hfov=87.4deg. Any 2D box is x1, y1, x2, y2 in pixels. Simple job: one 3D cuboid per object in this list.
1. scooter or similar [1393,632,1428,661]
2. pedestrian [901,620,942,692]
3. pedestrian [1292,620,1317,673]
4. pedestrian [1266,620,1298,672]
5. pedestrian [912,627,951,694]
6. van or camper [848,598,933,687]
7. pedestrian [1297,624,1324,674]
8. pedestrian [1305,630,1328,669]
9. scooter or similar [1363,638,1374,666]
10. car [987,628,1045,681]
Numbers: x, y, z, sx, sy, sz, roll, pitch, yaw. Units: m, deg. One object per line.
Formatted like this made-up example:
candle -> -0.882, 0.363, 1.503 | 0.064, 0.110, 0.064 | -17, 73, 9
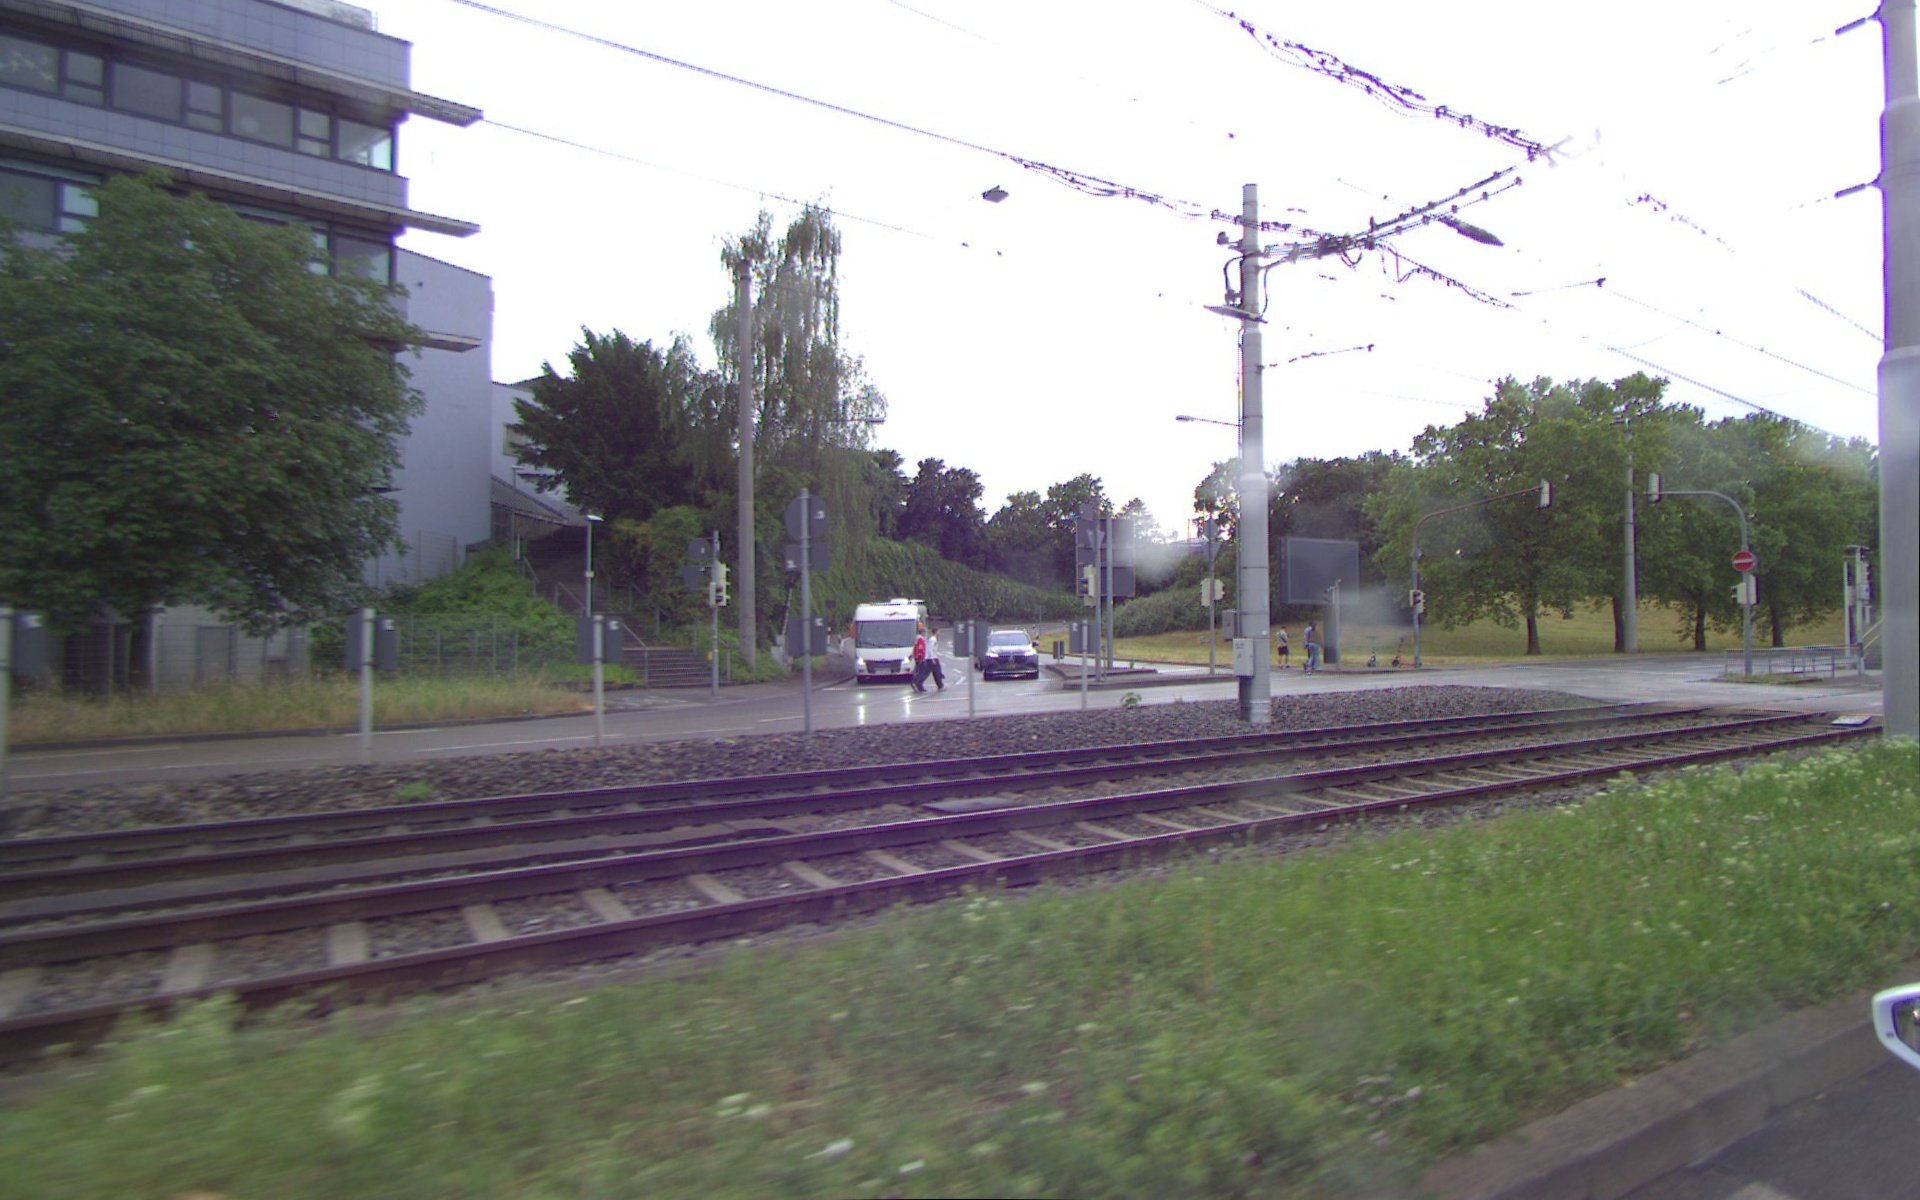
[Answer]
scooter or similar -> 18.785, 1.937, 41.860 | 1.254, 1.177, 0.380 | -1, -1, 13
pedestrian -> -1.115, 1.623, 29.216 | 0.932, 2.040, 0.885 | 0, -2, -24
pedestrian -> 13.013, 1.743, 37.933 | 0.713, 1.982, 0.493 | 1, 0, -29
pedestrian -> 12.740, 1.802, 39.761 | 0.858, 2.040, 0.880 | 1, -2, -37
pedestrian -> -0.827, 1.728, 28.817 | 0.940, 1.892, 0.632 | 0, -2, -24
van or camper -> -2.468, 1.524, 37.990 | 2.441, 3.006, 7.377 | -1, -1, 2
pedestrian -> 13.021, 1.807, 37.311 | 0.821, 1.811, 0.504 | 1, 0, -28
pedestrian -> 14.179, 1.959, 39.981 | 0.713, 1.493, 0.493 | 1, 0, -31
scooter or similar -> 17.145, 2.179, 42.170 | 0.282, 1.177, 0.769 | -1, -1, 13
car -> 1.990, 1.946, 36.838 | 1.960, 1.755, 4.632 | -1, -1, 1
